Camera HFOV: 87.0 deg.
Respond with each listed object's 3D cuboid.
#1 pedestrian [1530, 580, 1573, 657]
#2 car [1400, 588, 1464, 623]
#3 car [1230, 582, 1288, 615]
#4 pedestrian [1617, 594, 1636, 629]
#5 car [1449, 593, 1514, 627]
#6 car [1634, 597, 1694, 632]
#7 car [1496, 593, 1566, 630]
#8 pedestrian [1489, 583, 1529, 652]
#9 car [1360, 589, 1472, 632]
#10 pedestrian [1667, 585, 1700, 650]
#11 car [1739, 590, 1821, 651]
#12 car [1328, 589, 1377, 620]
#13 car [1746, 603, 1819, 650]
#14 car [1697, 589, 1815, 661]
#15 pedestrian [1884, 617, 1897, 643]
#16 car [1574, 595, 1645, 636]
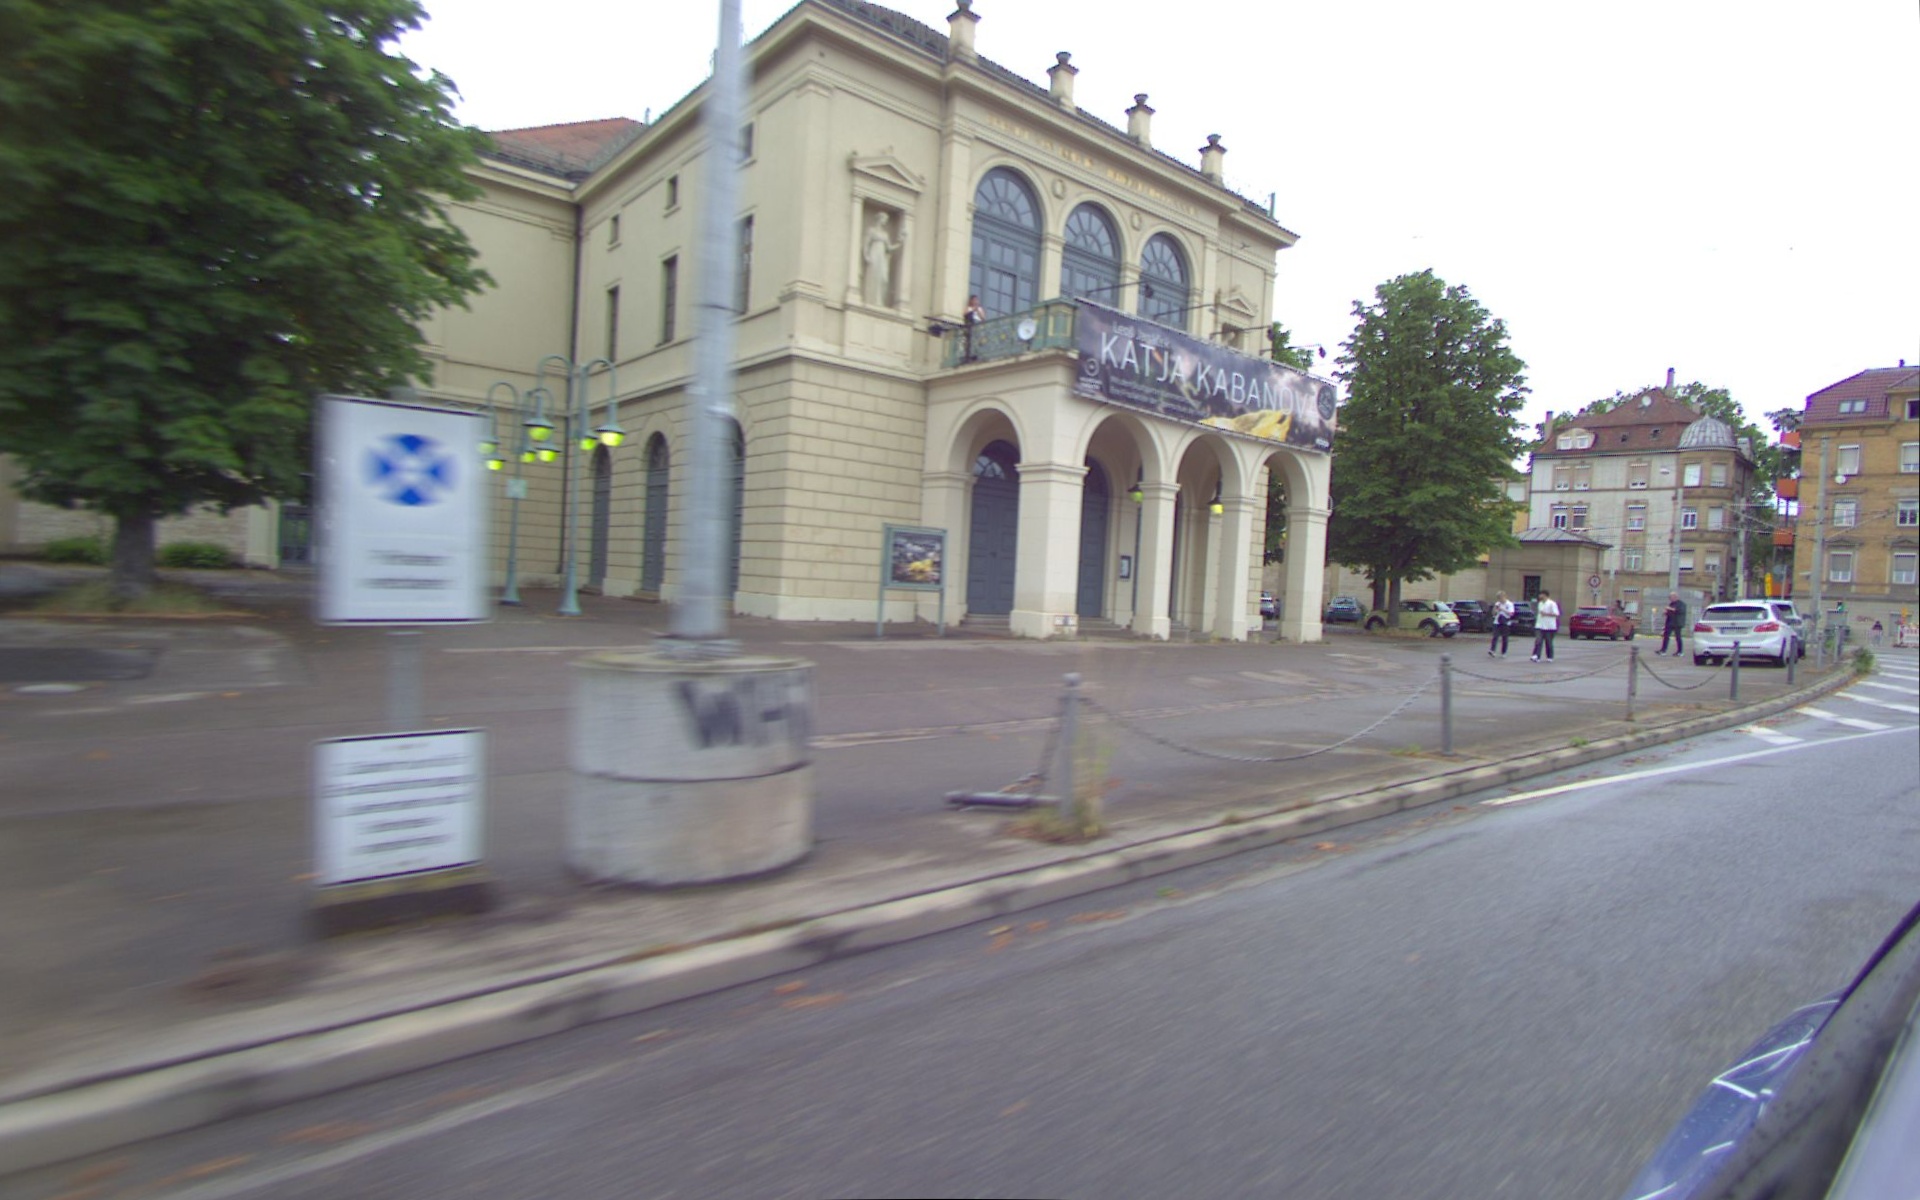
[{"bbox_3d":[13.971,0.436,23.905,0.824,1.757,0.595,1,2,-42],"label":"pedestrian"},{"bbox_3d":[23.909,0.259,51.213,1.826,1.602,3.938,4,3,42],"label":"car"},{"bbox_3d":[16.180,-0.126,54.940,1.649,1.602,4.005,2,2,-5],"label":"car"},{"bbox_3d":[33.731,0.577,51.207,0.697,1.763,0.453,2,2,-29],"label":"pedestrian"},{"bbox_3d":[25.284,0.480,49.005,1.678,1.515,3.937,4,3,44],"label":"car"},{"bbox_3d":[35.920,0.705,51.598,1.827,1.602,3.936,4,3,44],"label":"car"},{"bbox_3d":[26.308,0.516,46.577,1.859,1.567,4.002,2,1,43],"label":"car"},{"bbox_3d":[13.598,0.426,25.079,0.627,1.664,0.768,4,2,43],"label":"pedestrian"},{"bbox_3d":[18.490,0.416,41.151,1.697,1.487,3.746,1,2,-37],"label":"car"},{"bbox_3d":[20.684,0.483,28.932,0.695,1.829,0.770,1,1,41],"label":"pedestrian"},{"bbox_3d":[23.907,0.550,29.464,1.714,1.660,4.081,-1,0,41],"label":"car"},{"bbox_3d":[20.807,0.215,53.550,1.709,1.460,3.956,4,2,31],"label":"car"},{"bbox_3d":[28.082,0.870,34.551,1.836,1.482,4.083,0,-1,40],"label":"car"},{"bbox_3d":[20.043,0.595,25.425,4.074,1.660,1.840,1,-1,-44],"label":"car"},{"bbox_3d":[61.213,1.959,66.578,0.525,1.674,0.511,1,1,-42],"label":"pedestrian"},{"bbox_3d":[28.312,0.667,44.068,1.827,1.602,3.936,4,3,44],"label":"car"}]
